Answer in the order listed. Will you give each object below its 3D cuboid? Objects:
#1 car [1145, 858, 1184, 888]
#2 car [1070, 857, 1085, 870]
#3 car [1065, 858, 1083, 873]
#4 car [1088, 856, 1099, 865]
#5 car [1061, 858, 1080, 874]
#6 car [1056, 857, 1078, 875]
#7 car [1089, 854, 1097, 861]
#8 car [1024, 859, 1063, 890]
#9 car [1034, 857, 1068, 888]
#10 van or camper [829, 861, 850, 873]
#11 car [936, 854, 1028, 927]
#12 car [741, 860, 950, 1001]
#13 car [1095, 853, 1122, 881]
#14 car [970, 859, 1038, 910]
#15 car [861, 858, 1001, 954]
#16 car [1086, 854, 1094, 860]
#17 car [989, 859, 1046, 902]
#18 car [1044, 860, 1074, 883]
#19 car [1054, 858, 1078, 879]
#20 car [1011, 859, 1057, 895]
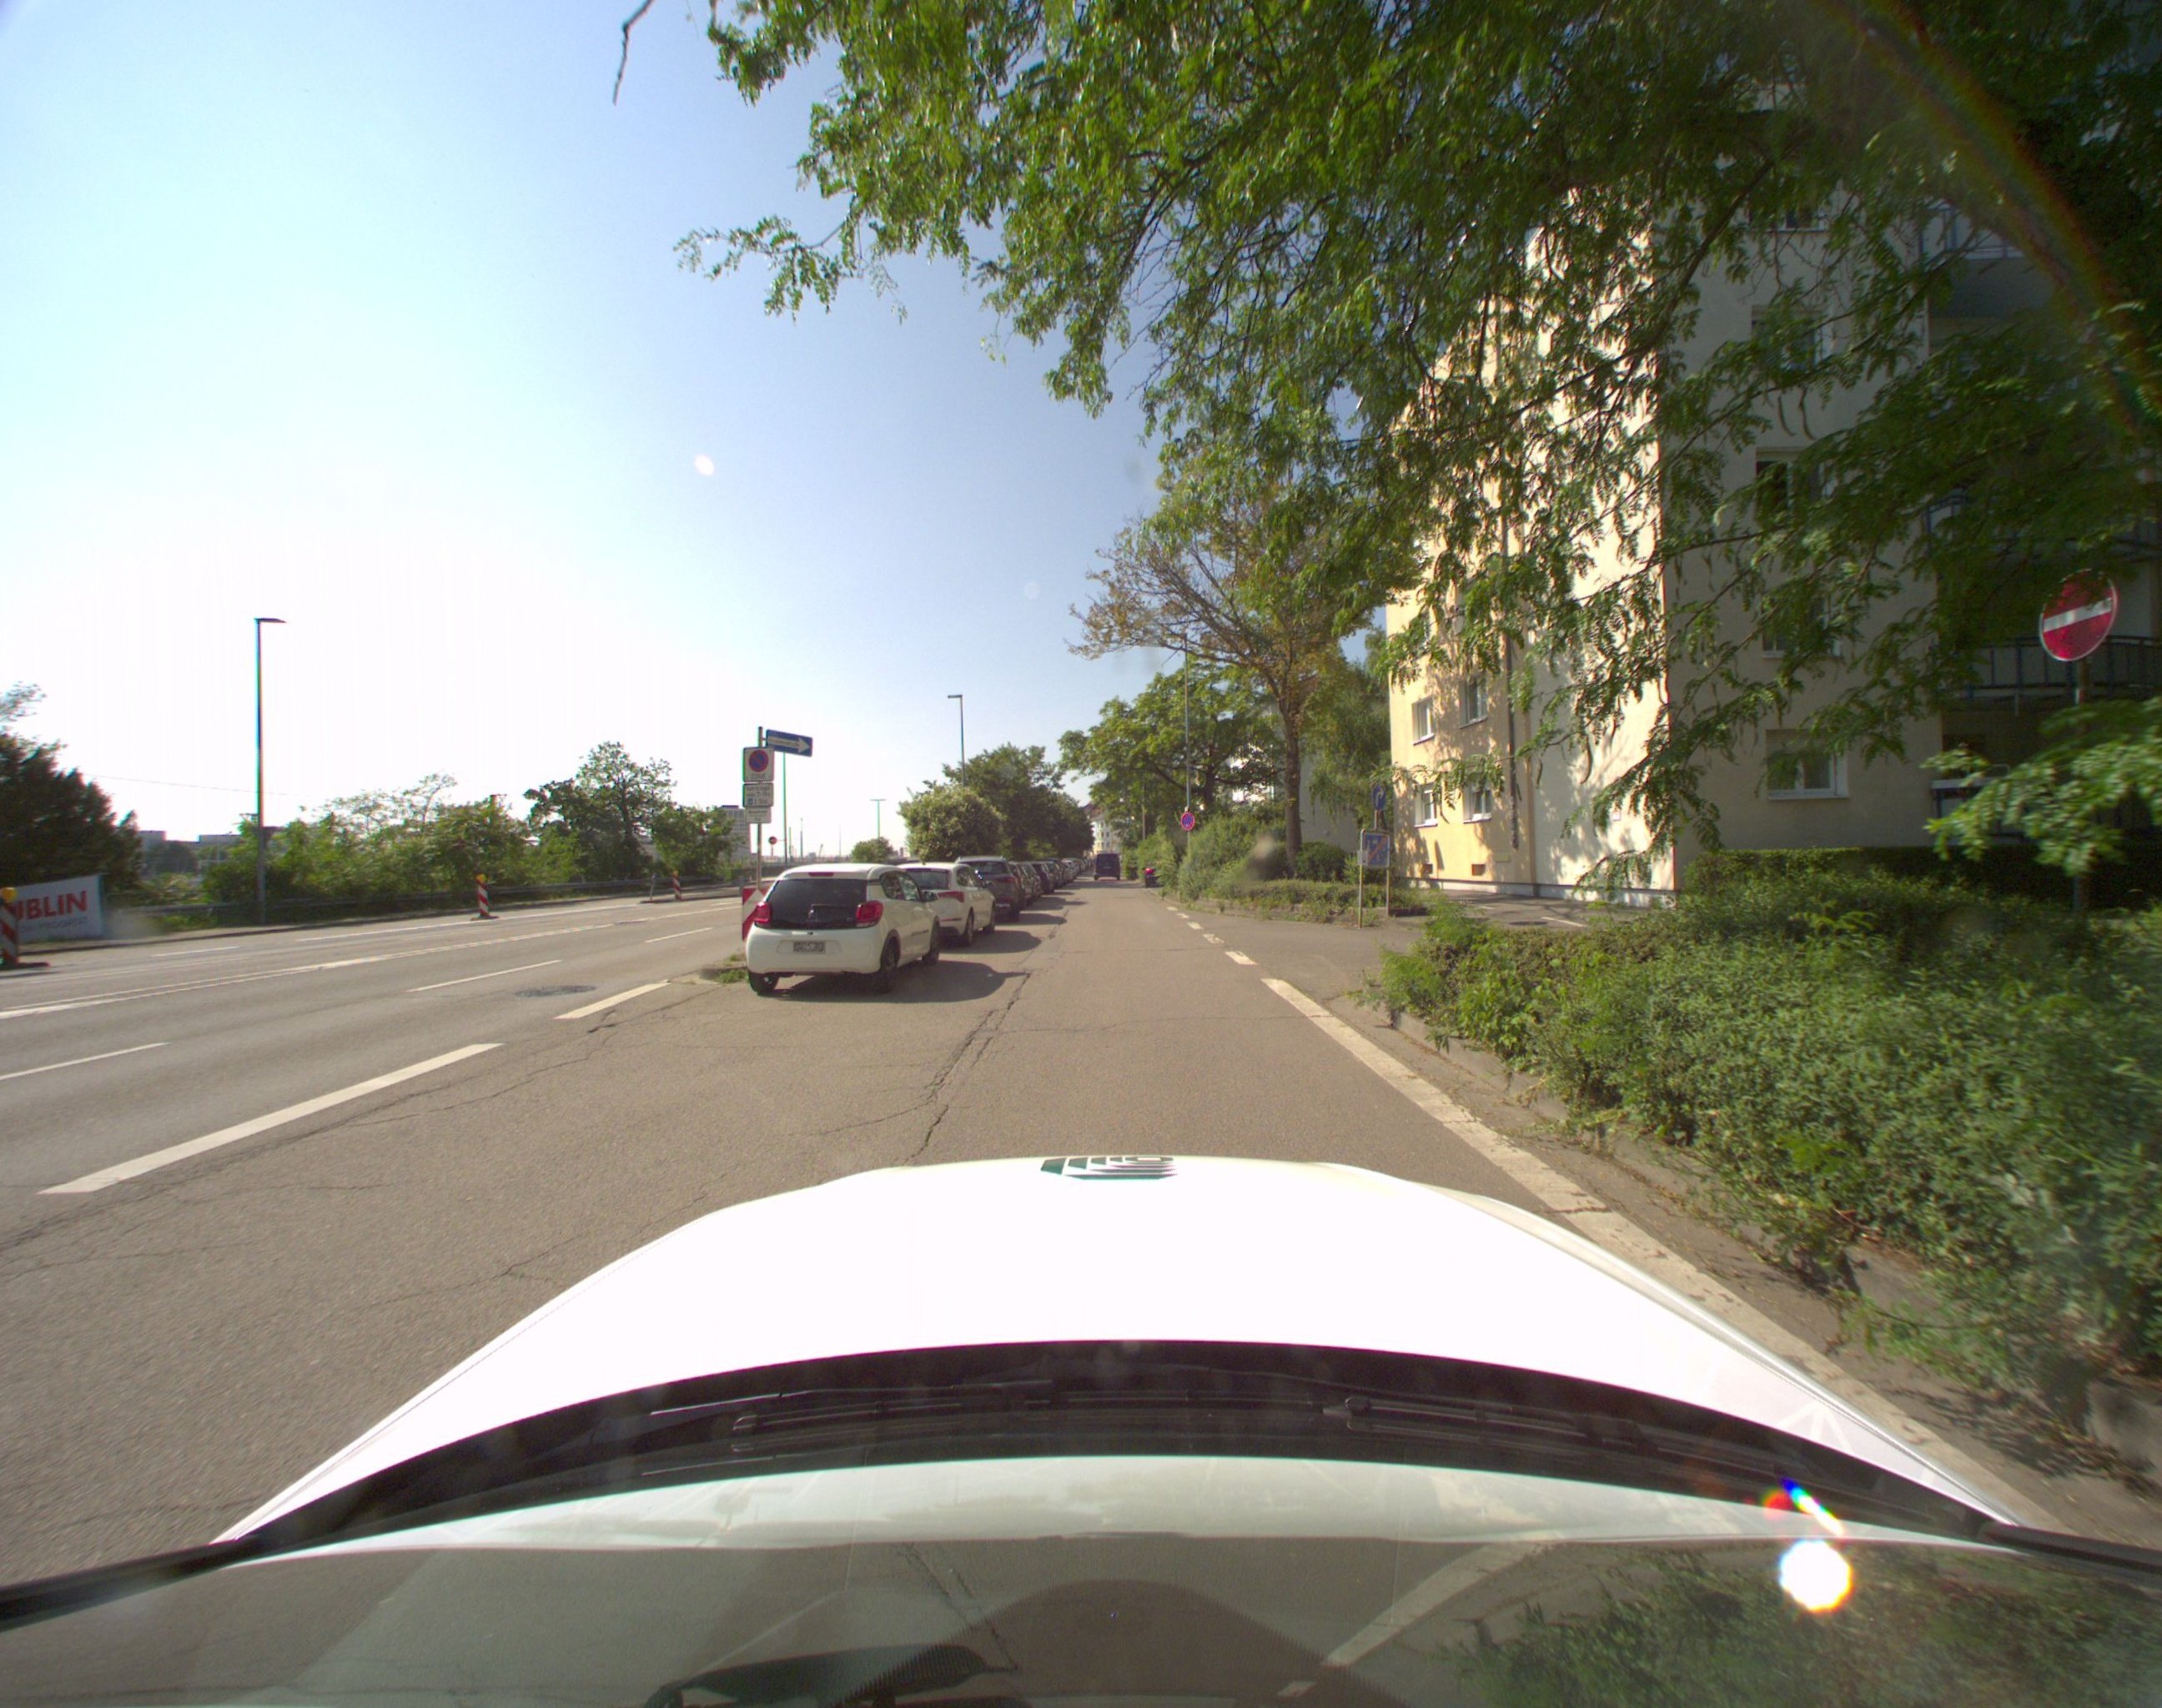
[{"bbox_3d":[4.385,0.969,43.399,1.720,1.420,4.001,-3,0,2],"label":"car"},{"bbox_3d":[-0.390,1.082,95.324,1.657,1.509,4.010,0,0,2],"label":"car"},{"bbox_3d":[-0.691,1.157,84.363,1.657,1.509,4.010,0,0,2],"label":"car"},{"bbox_3d":[2.445,1.247,158.472,1.986,1.657,4.001,-2,0,1],"label":"car"},{"bbox_3d":[-1.013,1.128,78.819,1.657,1.509,4.010,0,0,2],"label":"car"},{"bbox_3d":[-1.239,1.063,73.360,1.657,1.509,4.203,-2,0,2],"label":"car"},{"bbox_3d":[2.932,0.880,201.343,1.986,1.657,4.001,-2,0,1],"label":"car"},{"bbox_3d":[-1.905,1.035,42.427,1.657,1.511,3.791,0,0,2],"label":"car"},{"bbox_3d":[-1.689,1.051,47.085,1.657,1.583,3.934,-2,1,2],"label":"car"},{"bbox_3d":[-29.557,1.587,99.849,1.464,1.350,4.623,-2,0,-4],"label":"van or camper"},{"bbox_3d":[-2.396,0.836,20.792,1.766,1.579,4.186,-2,0,0],"label":"car"},{"bbox_3d":[-2.894,0.863,10.759,1.613,1.505,3.463,-1,0,2],"label":"car"},{"bbox_3d":[1.968,0.906,58.877,1.875,1.921,4.010,0,0,2],"label":"car"},{"bbox_3d":[-2.407,0.925,26.205,1.657,1.474,3.878,0,0,2],"label":"car"},{"bbox_3d":[-2.645,0.864,15.310,1.714,1.505,4.134,0,0,2],"label":"car"},{"bbox_3d":[2.414,0.746,221.590,1.986,1.657,3.741,-2,0,1],"label":"car"},{"bbox_3d":[-2.391,0.966,31.597,1.657,1.511,4.596,0,0,2],"label":"car"},{"bbox_3d":[-1.366,1.095,52.267,1.657,1.407,4.322,0,0,2],"label":"car"},{"bbox_3d":[-1.128,1.109,62.910,1.657,1.468,4.203,0,0,2],"label":"car"},{"bbox_3d":[-2.052,1.008,36.488,1.657,1.473,3.791,0,0,2],"label":"car"}]
